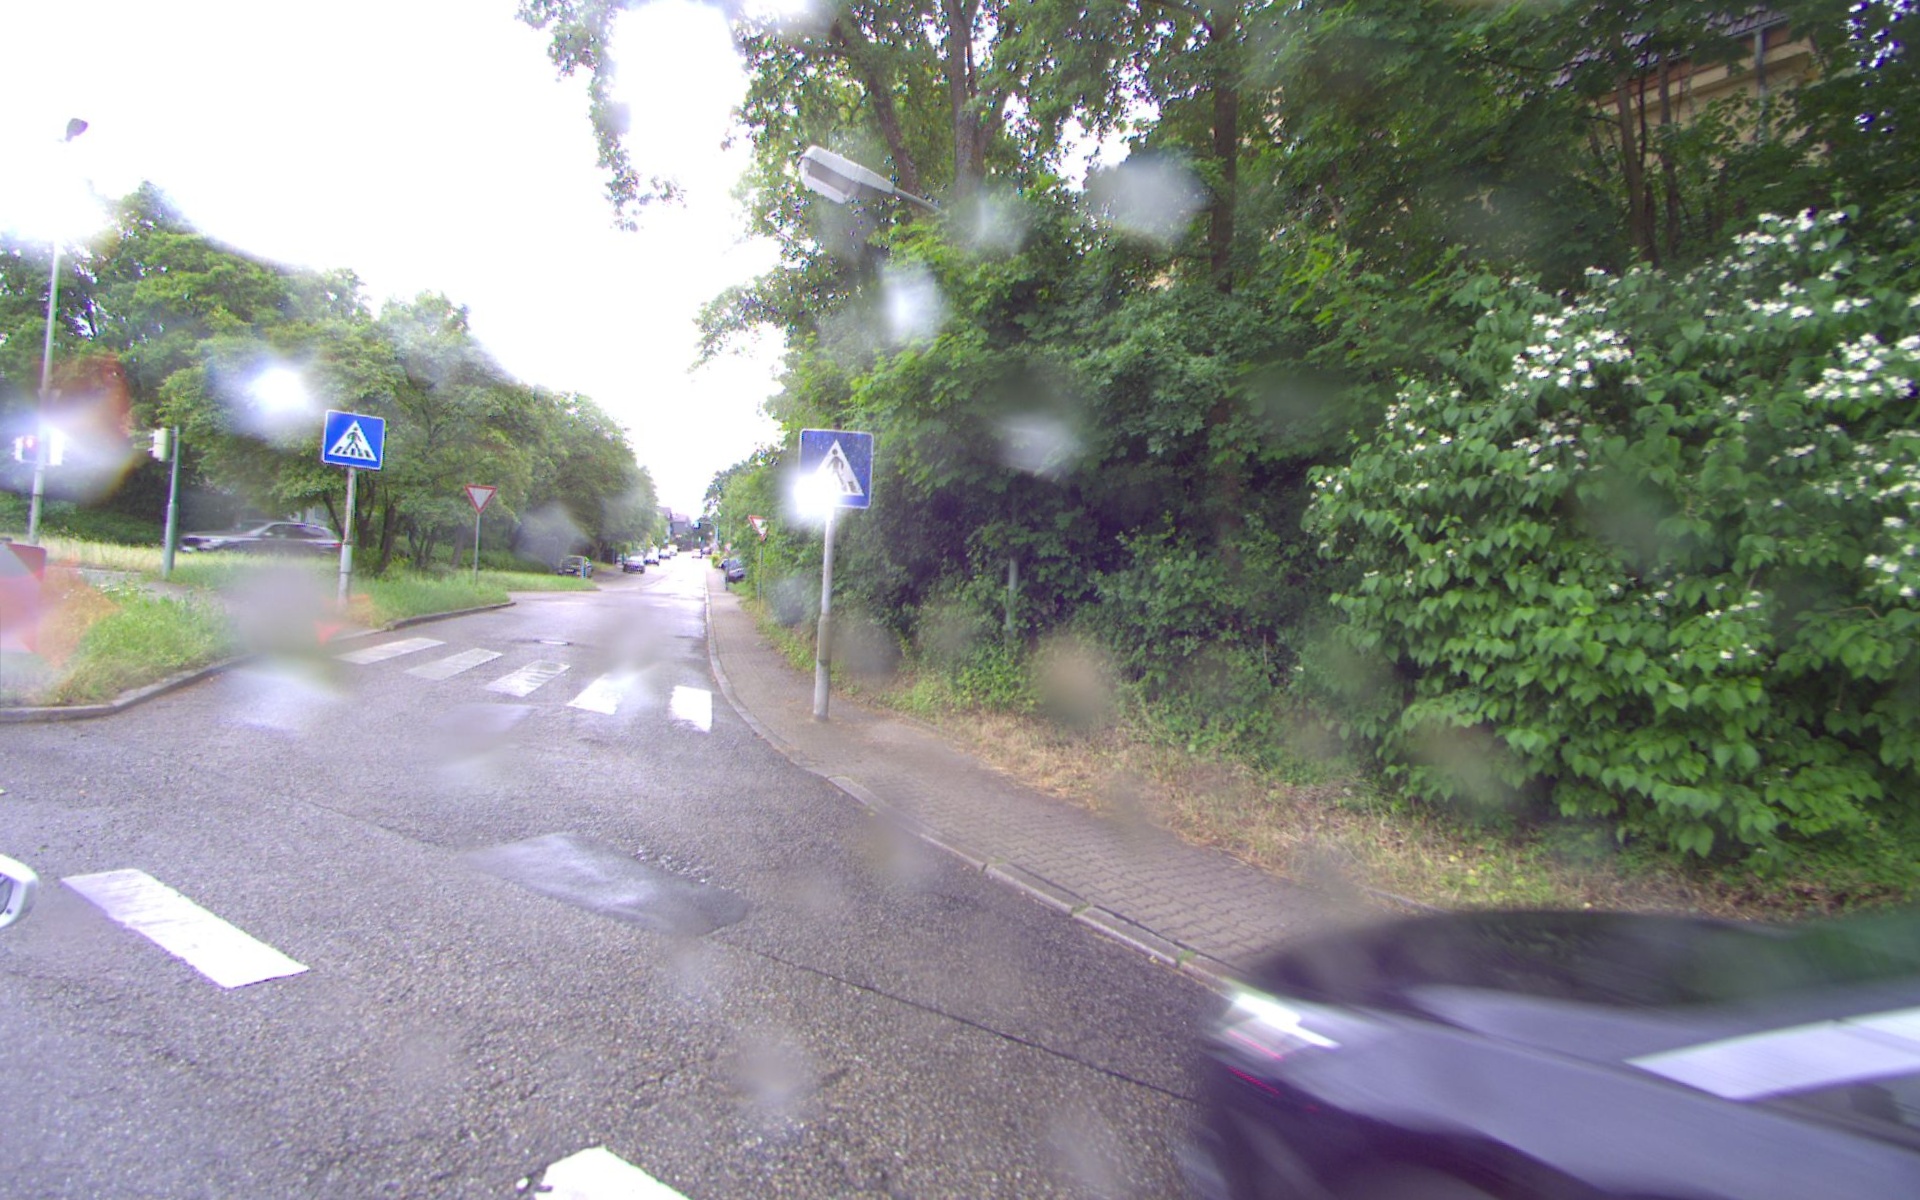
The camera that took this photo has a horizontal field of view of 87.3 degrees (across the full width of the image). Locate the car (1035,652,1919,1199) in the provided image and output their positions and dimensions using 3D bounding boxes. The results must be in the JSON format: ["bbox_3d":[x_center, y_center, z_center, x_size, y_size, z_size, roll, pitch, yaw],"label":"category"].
[{"bbox_3d":[2.292,1.047,1.553,1.805,1.462,4.109,4,2,-45],"label":"car"}]

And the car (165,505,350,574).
[{"bbox_3d":[-23.565,-1.979,33.971,1.963,1.738,4.714,7,0,22],"label":"car"}]

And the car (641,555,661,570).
[{"bbox_3d":[-38.046,-4.591,123.824,1.968,1.463,4.278,7,-2,-19],"label":"car"}]

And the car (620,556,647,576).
[{"bbox_3d":[-30.432,-3.156,93.914,1.874,1.467,4.285,7,-2,-13],"label":"car"}]

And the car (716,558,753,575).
[{"bbox_3d":[-26.104,-3.859,116.275,3.939,1.594,1.766,5,1,-18],"label":"car"}]

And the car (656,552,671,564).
[{"bbox_3d":[-47.124,-6.646,159.682,1.877,1.413,4.151,7,-2,-20],"label":"car"}]

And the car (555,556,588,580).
[{"bbox_3d":[-26.206,-2.186,67.922,1.651,1.387,3.477,6,0,-17],"label":"car"}]
